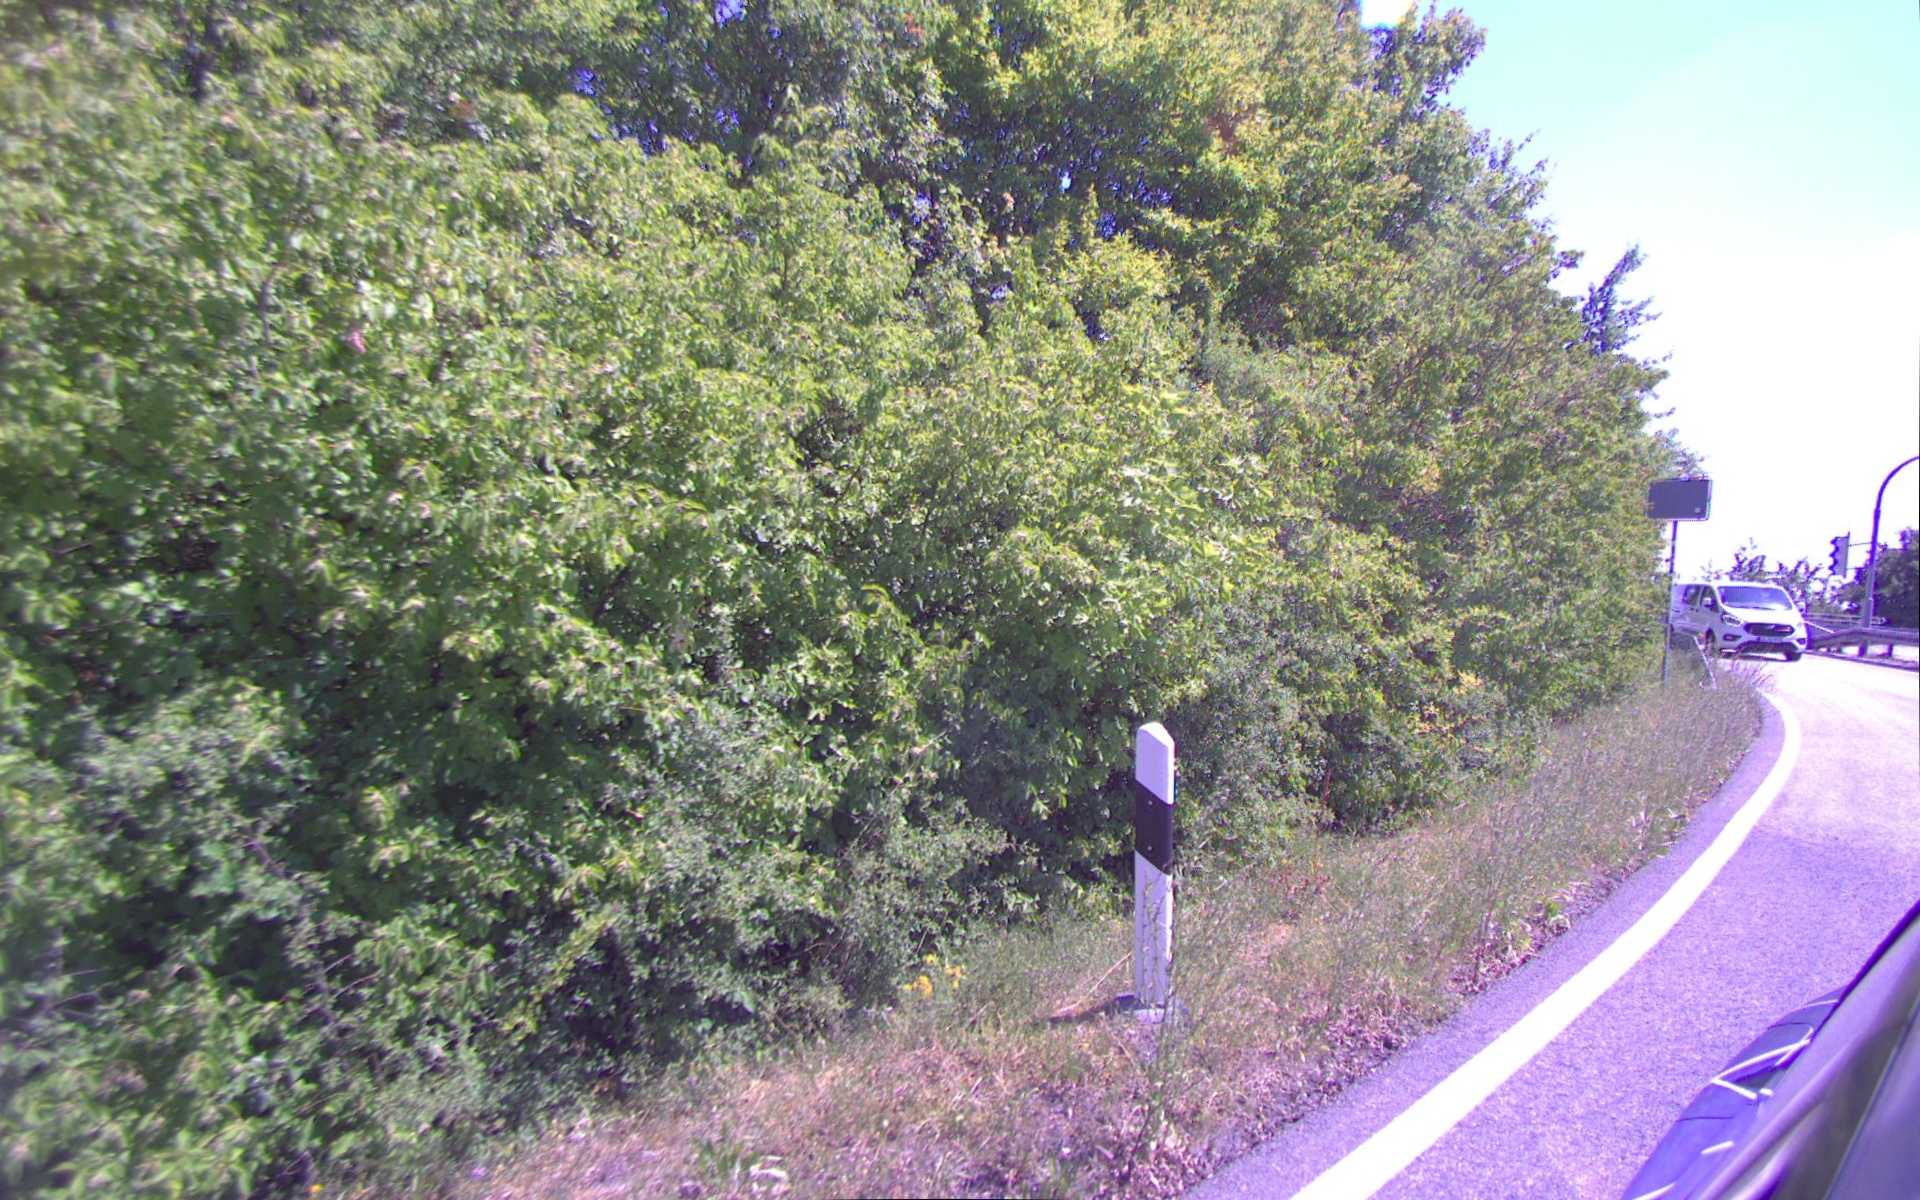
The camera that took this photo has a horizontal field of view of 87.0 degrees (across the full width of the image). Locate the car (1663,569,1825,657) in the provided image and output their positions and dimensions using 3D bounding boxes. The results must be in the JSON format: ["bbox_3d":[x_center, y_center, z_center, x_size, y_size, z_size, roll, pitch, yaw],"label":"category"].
[{"bbox_3d":[21.482,0.381,28.040,2.009,2.111,5.825,2,-1,23],"label":"car"}]
